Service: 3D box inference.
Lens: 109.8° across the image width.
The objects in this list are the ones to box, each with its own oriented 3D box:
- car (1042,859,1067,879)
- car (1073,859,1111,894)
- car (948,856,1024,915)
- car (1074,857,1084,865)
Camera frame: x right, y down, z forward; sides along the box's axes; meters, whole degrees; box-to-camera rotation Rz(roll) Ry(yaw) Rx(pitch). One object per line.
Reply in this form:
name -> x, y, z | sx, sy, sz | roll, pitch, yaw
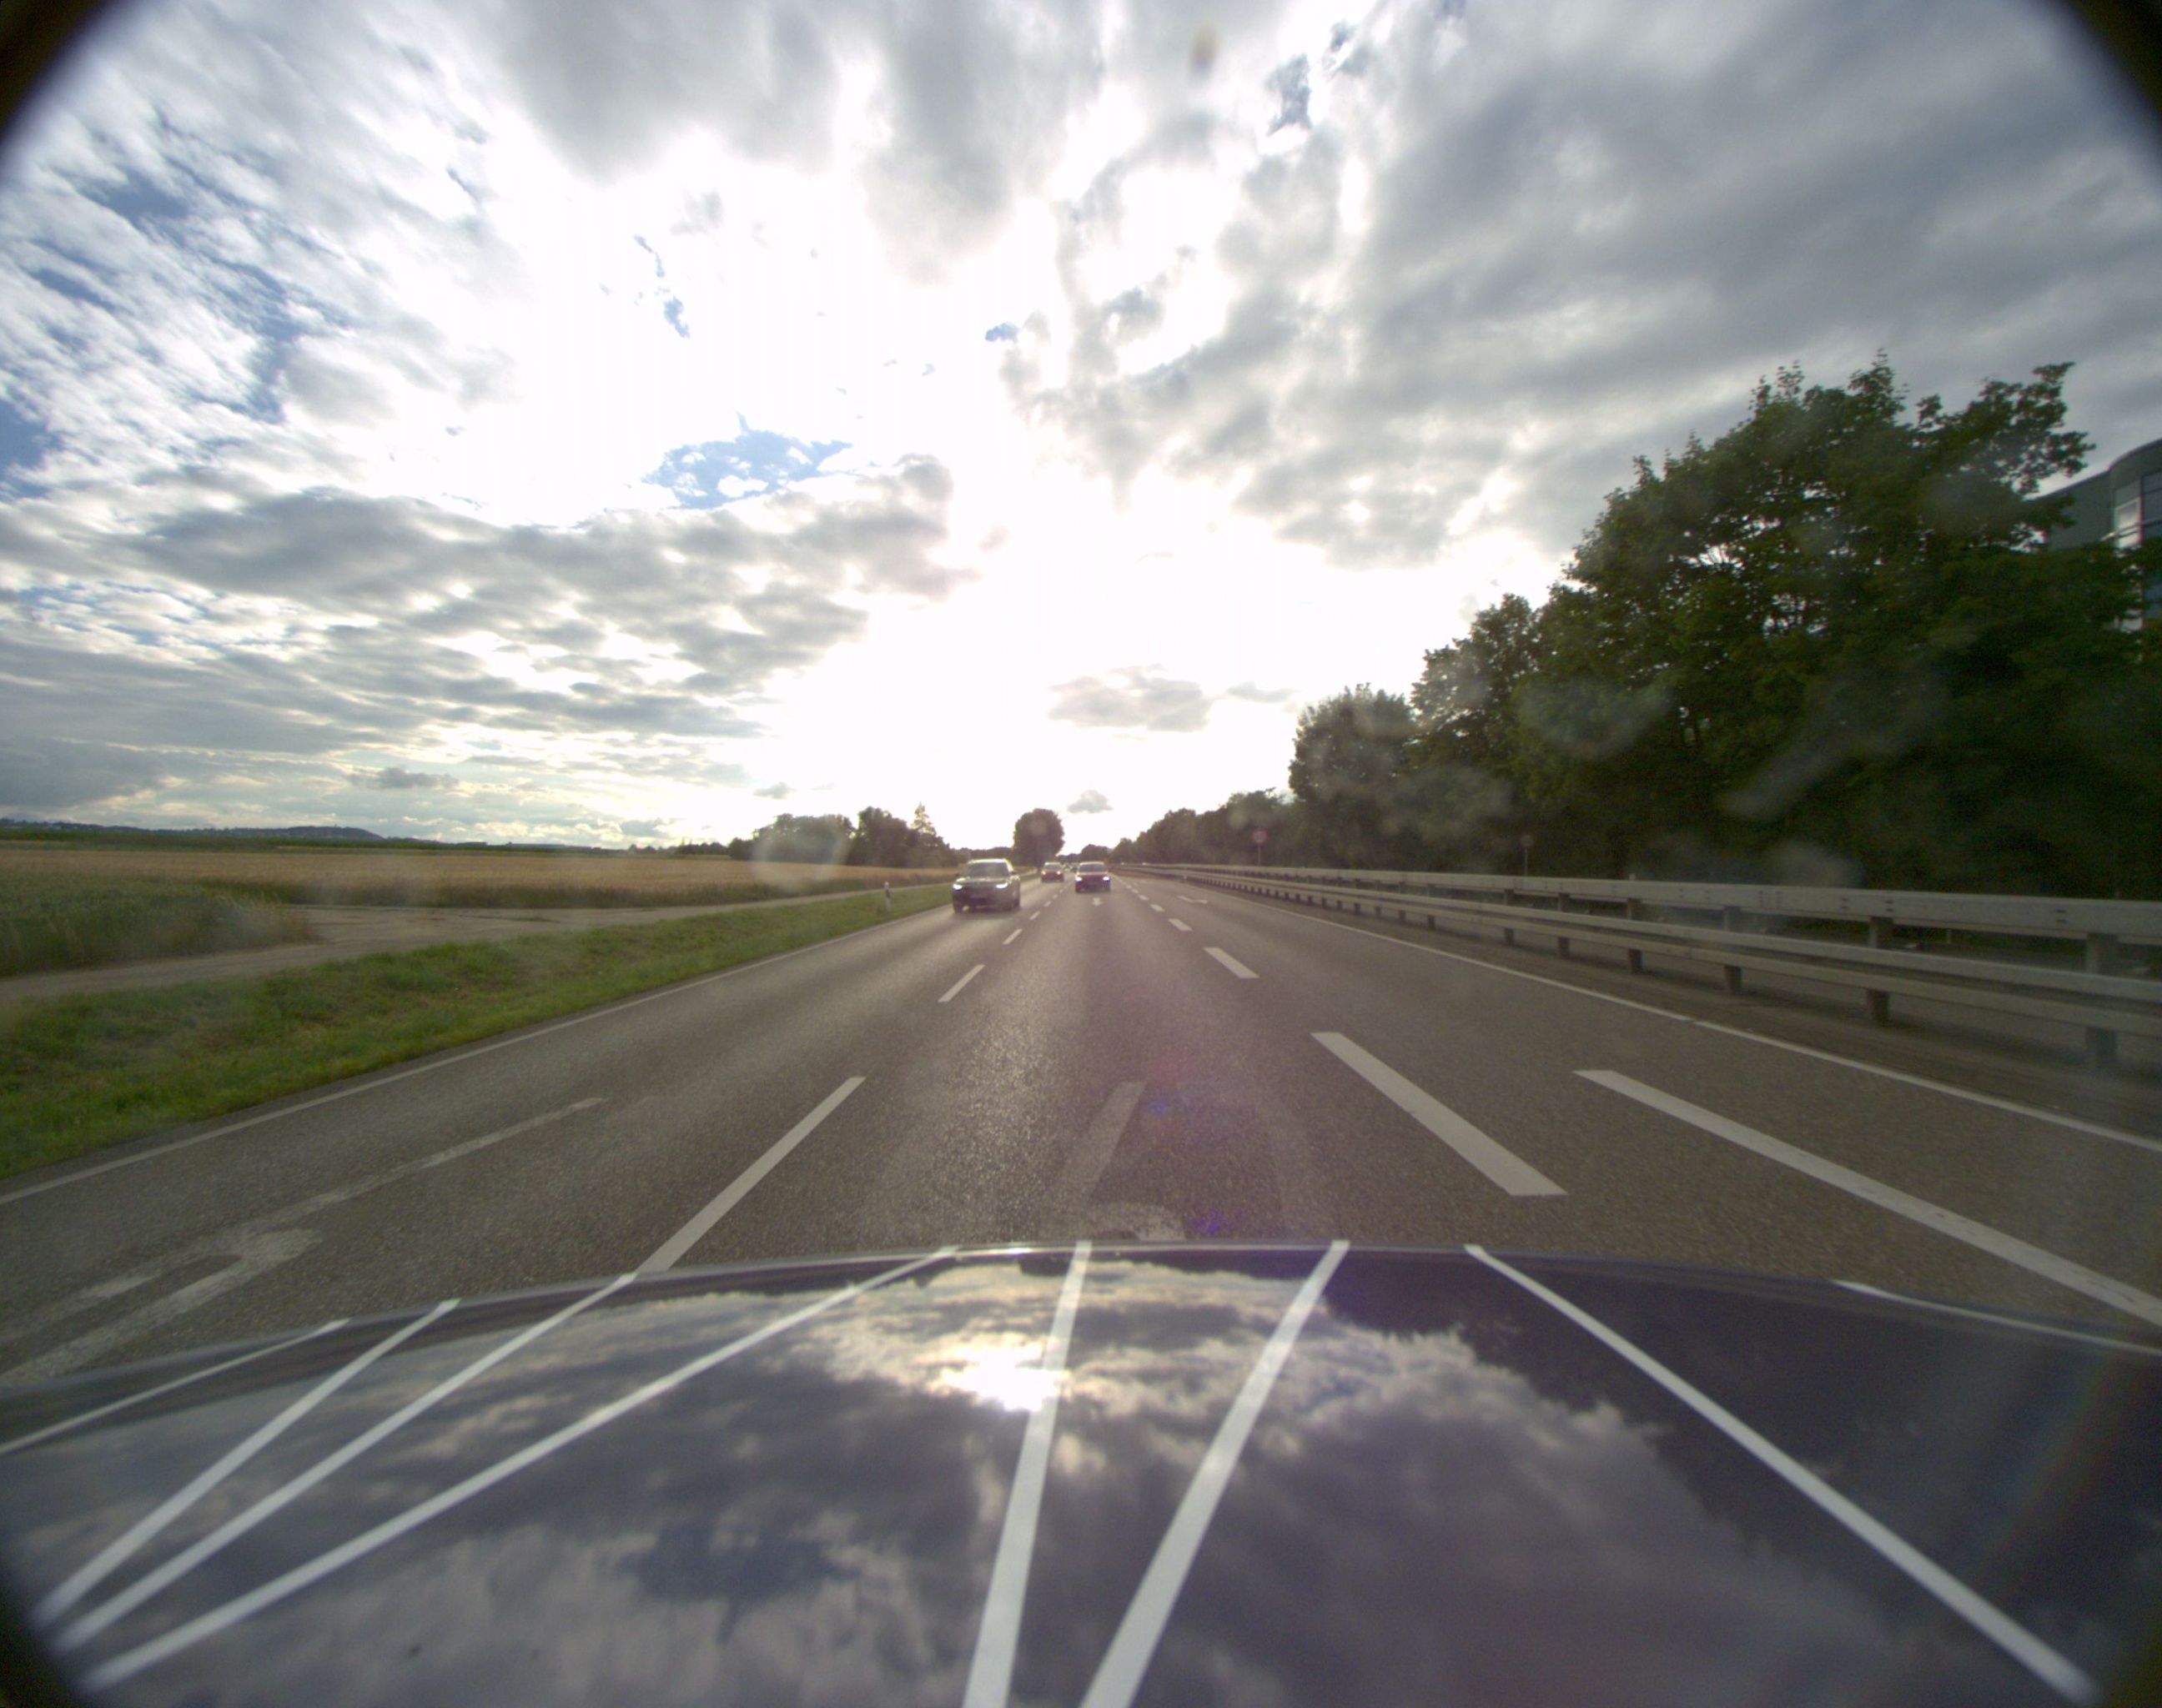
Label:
car -> -2.047, 1.150, 59.598 | 1.712, 1.448, 3.908 | -2, 1, 1
car -> 0.548, 1.044, 36.956 | 1.712, 1.448, 4.061 | -2, 1, 1
car -> -3.085, 0.977, 25.619 | 1.841, 1.698, 4.556 | -2, 1, 1
car -> -0.385, 1.243, 139.151 | 1.799, 1.448, 4.032 | -2, 0, 1
